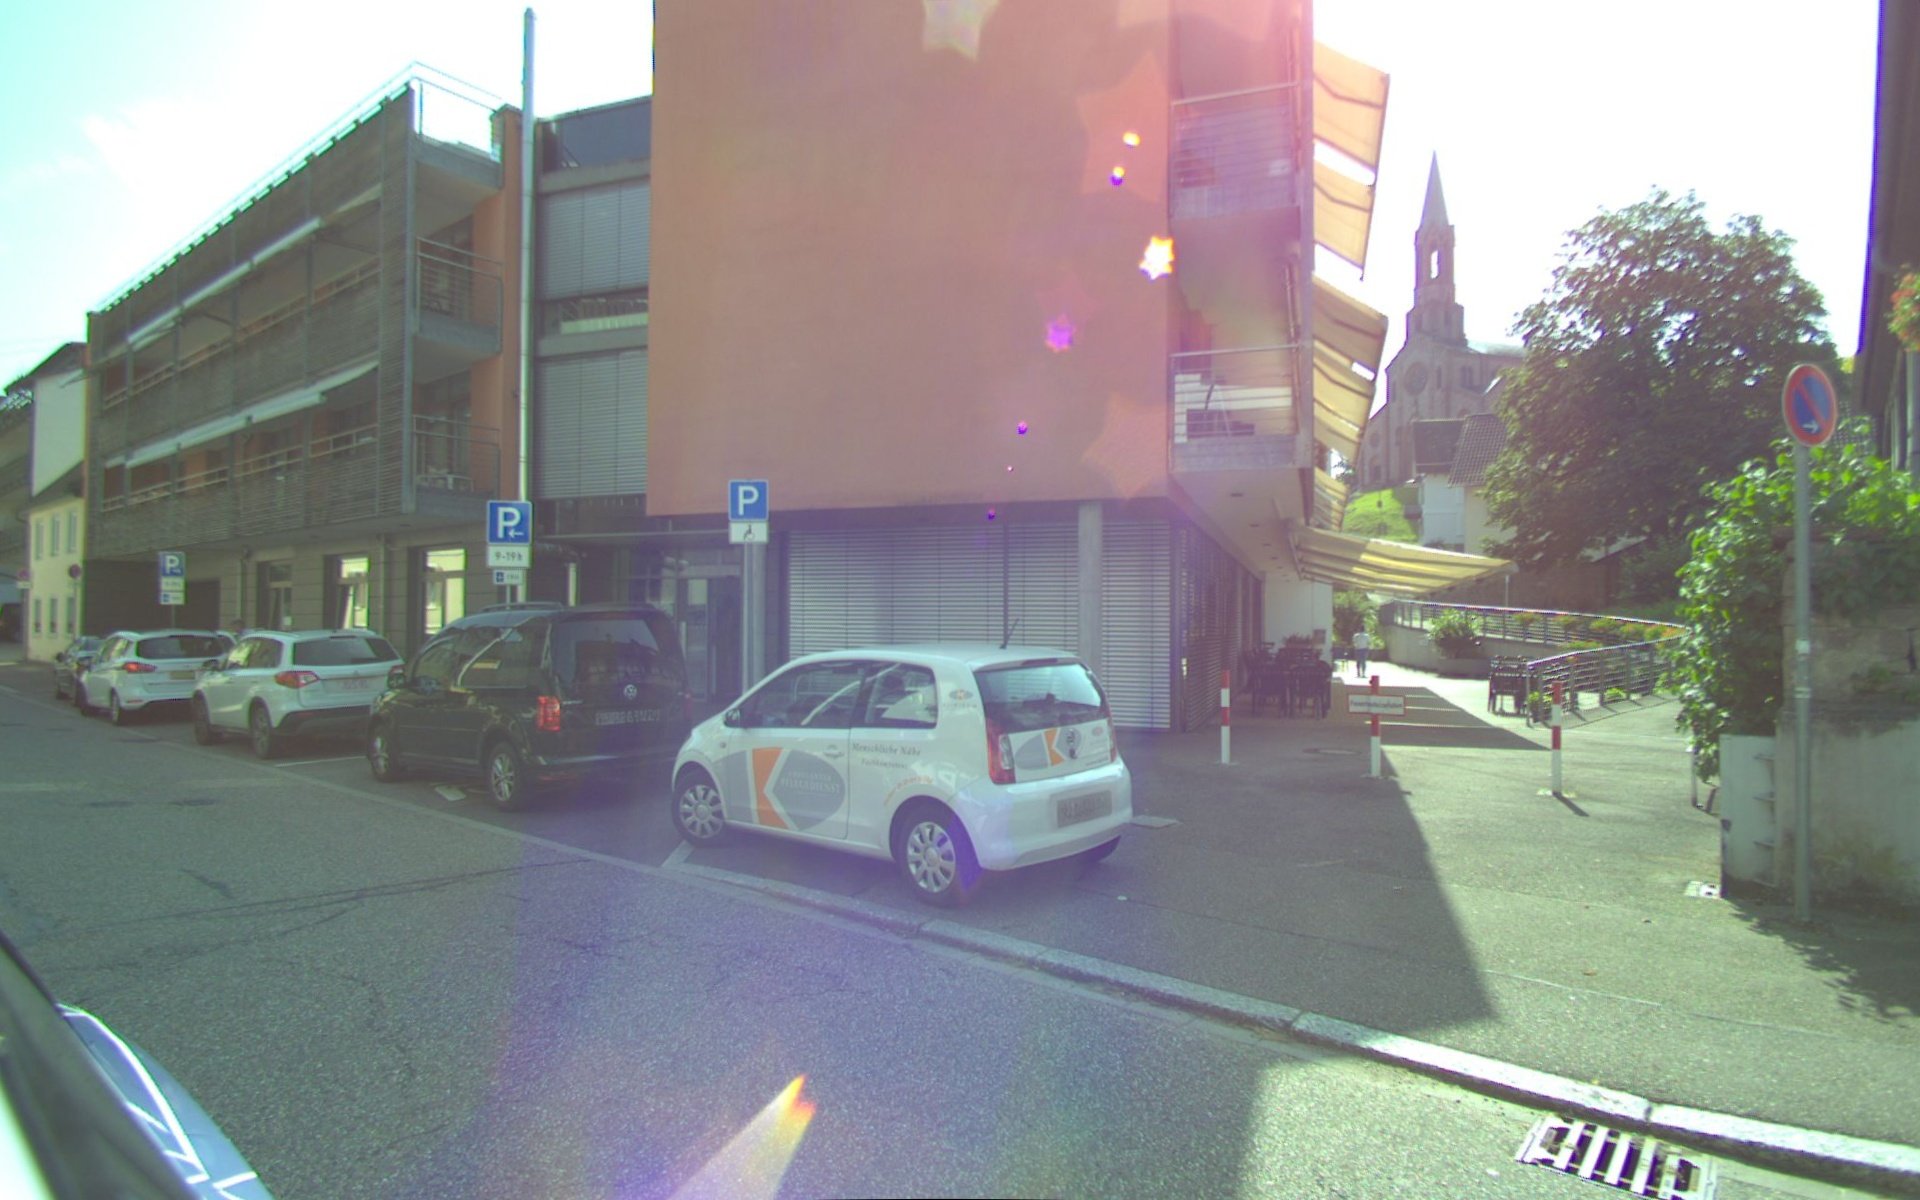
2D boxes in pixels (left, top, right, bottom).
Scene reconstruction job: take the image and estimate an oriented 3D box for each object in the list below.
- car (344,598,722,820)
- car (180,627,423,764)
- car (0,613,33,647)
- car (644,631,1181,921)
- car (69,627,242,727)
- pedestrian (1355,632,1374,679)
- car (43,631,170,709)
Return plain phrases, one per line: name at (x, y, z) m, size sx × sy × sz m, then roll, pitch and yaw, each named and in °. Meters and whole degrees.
car at (-4.449, 0.947, 10.276) m, size 4.264 × 1.810 × 1.703 m, roll -1°, pitch -2°, yaw 39°
car at (-9.062, 1.191, 13.822) m, size 3.945 × 1.602 × 1.658 m, roll -2°, pitch -2°, yaw 39°
car at (-50.675, 1.548, 52.142) m, size 1.828 × 1.697 × 3.957 m, roll -3°, pitch -3°, yaw 32°
car at (-0.483, 0.981, 7.006) m, size 3.567 × 1.443 × 1.649 m, roll -3°, pitch -2°, yaw 41°
car at (-14.361, 1.288, 18.004) m, size 3.760 × 1.567 × 1.657 m, roll -2°, pitch -2°, yaw 39°
pedestrian at (13.734, 1.877, 34.349) m, size 0.538 × 1.559 × 0.578 m, roll 0°, pitch -2°, yaw 18°
car at (-18.085, 1.406, 21.395) m, size 3.592 × 1.427 × 1.533 m, roll -1°, pitch 0°, yaw 41°
